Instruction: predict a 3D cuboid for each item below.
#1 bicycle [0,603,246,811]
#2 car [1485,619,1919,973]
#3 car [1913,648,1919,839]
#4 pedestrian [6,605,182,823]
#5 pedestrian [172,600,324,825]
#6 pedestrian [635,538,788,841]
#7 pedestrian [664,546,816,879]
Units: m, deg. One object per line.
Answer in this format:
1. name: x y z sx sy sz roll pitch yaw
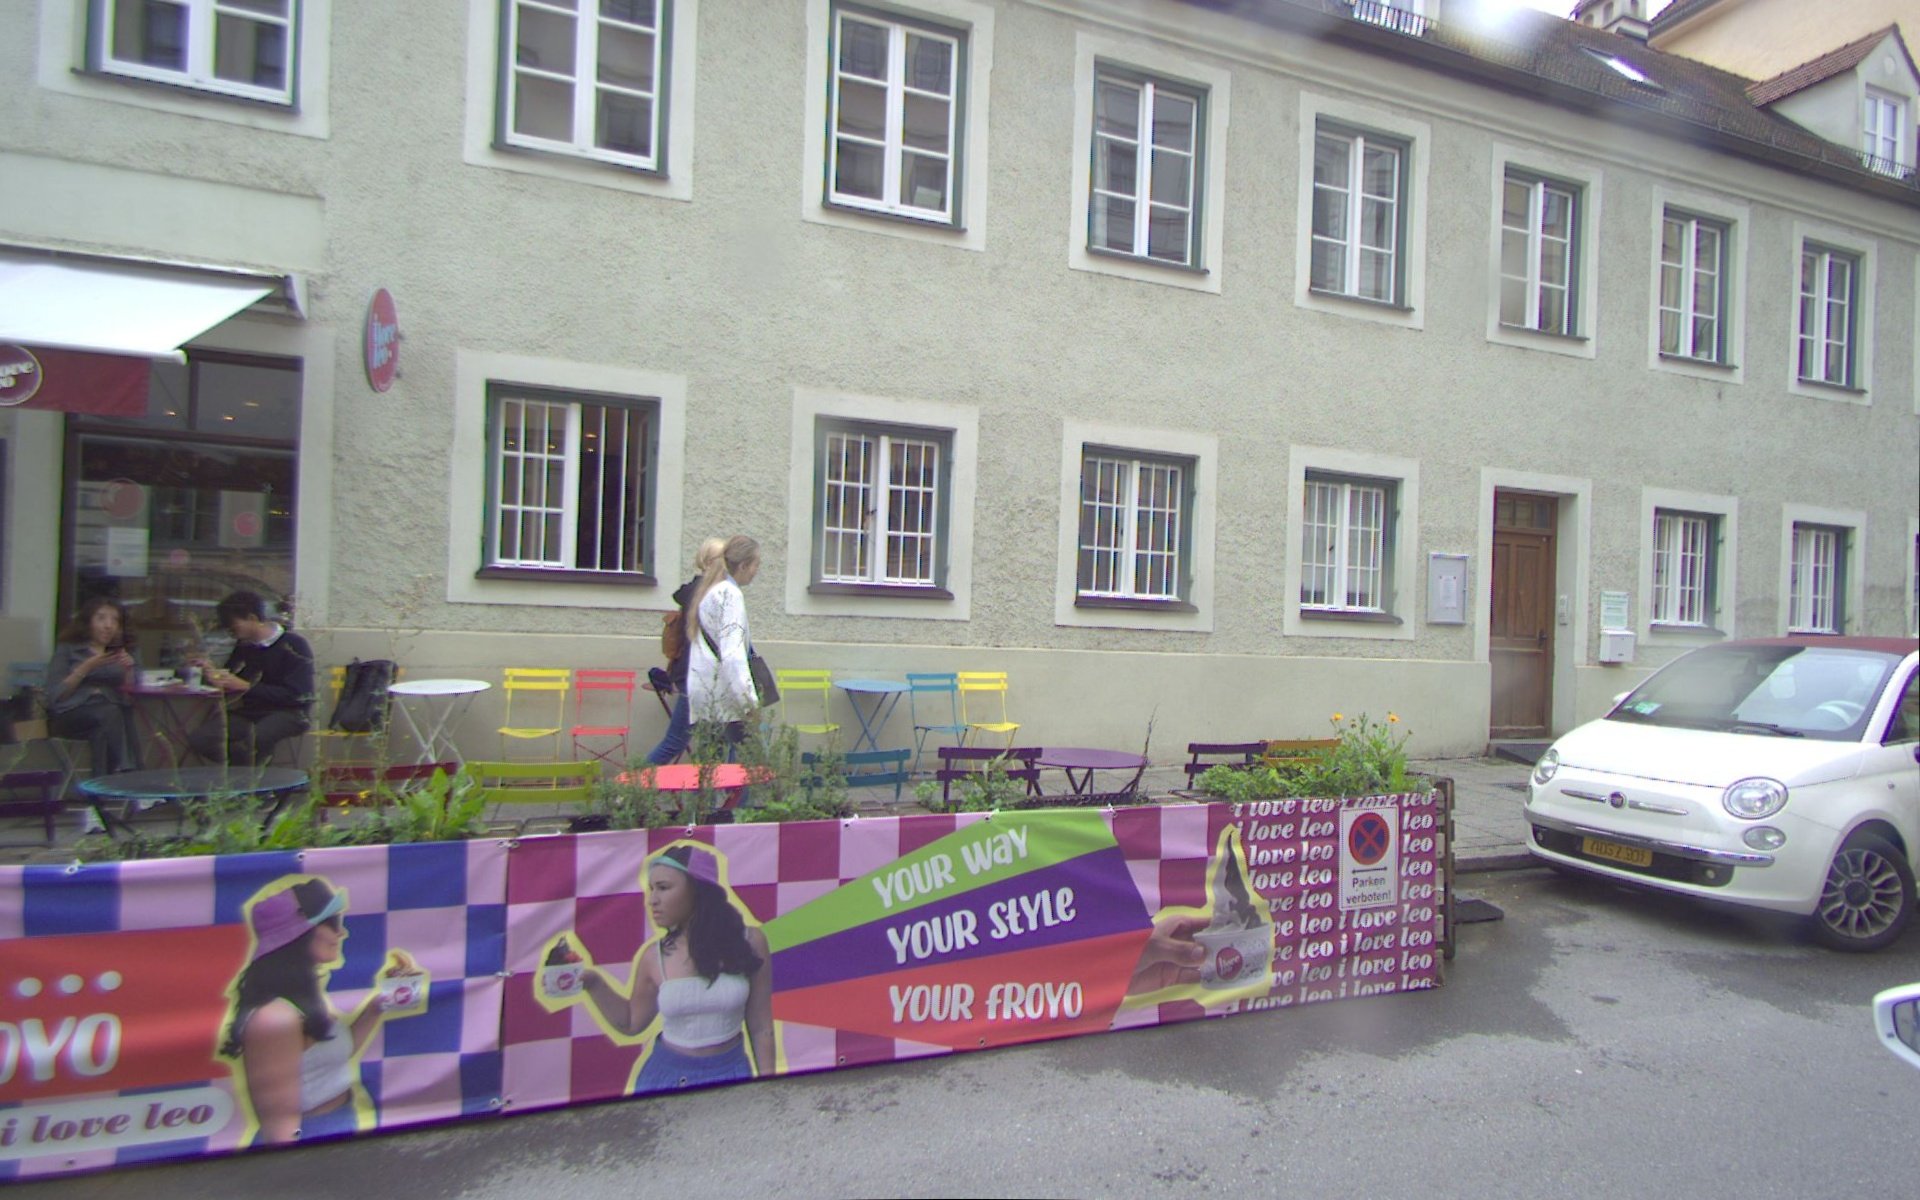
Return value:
1. bicycle: -4.870 0.572 5.927 0.342 1.055 1.633 2 -2 -9
2. car: 4.958 0.935 5.841 3.374 1.534 1.565 2 0 -23
3. car: 9.419 1.137 7.405 4.206 1.420 1.854 2 0 -21
4. pedestrian: -5.113 0.647 5.960 0.583 1.229 0.509 0 1 -5
5. pedestrian: -4.261 0.648 6.047 0.537 1.283 0.523 0 1 -5
6. pedestrian: -1.528 0.521 6.142 0.795 1.721 0.579 2 -1 -23
7. pedestrian: -1.172 0.557 5.304 0.653 1.619 0.611 2 -1 -23
